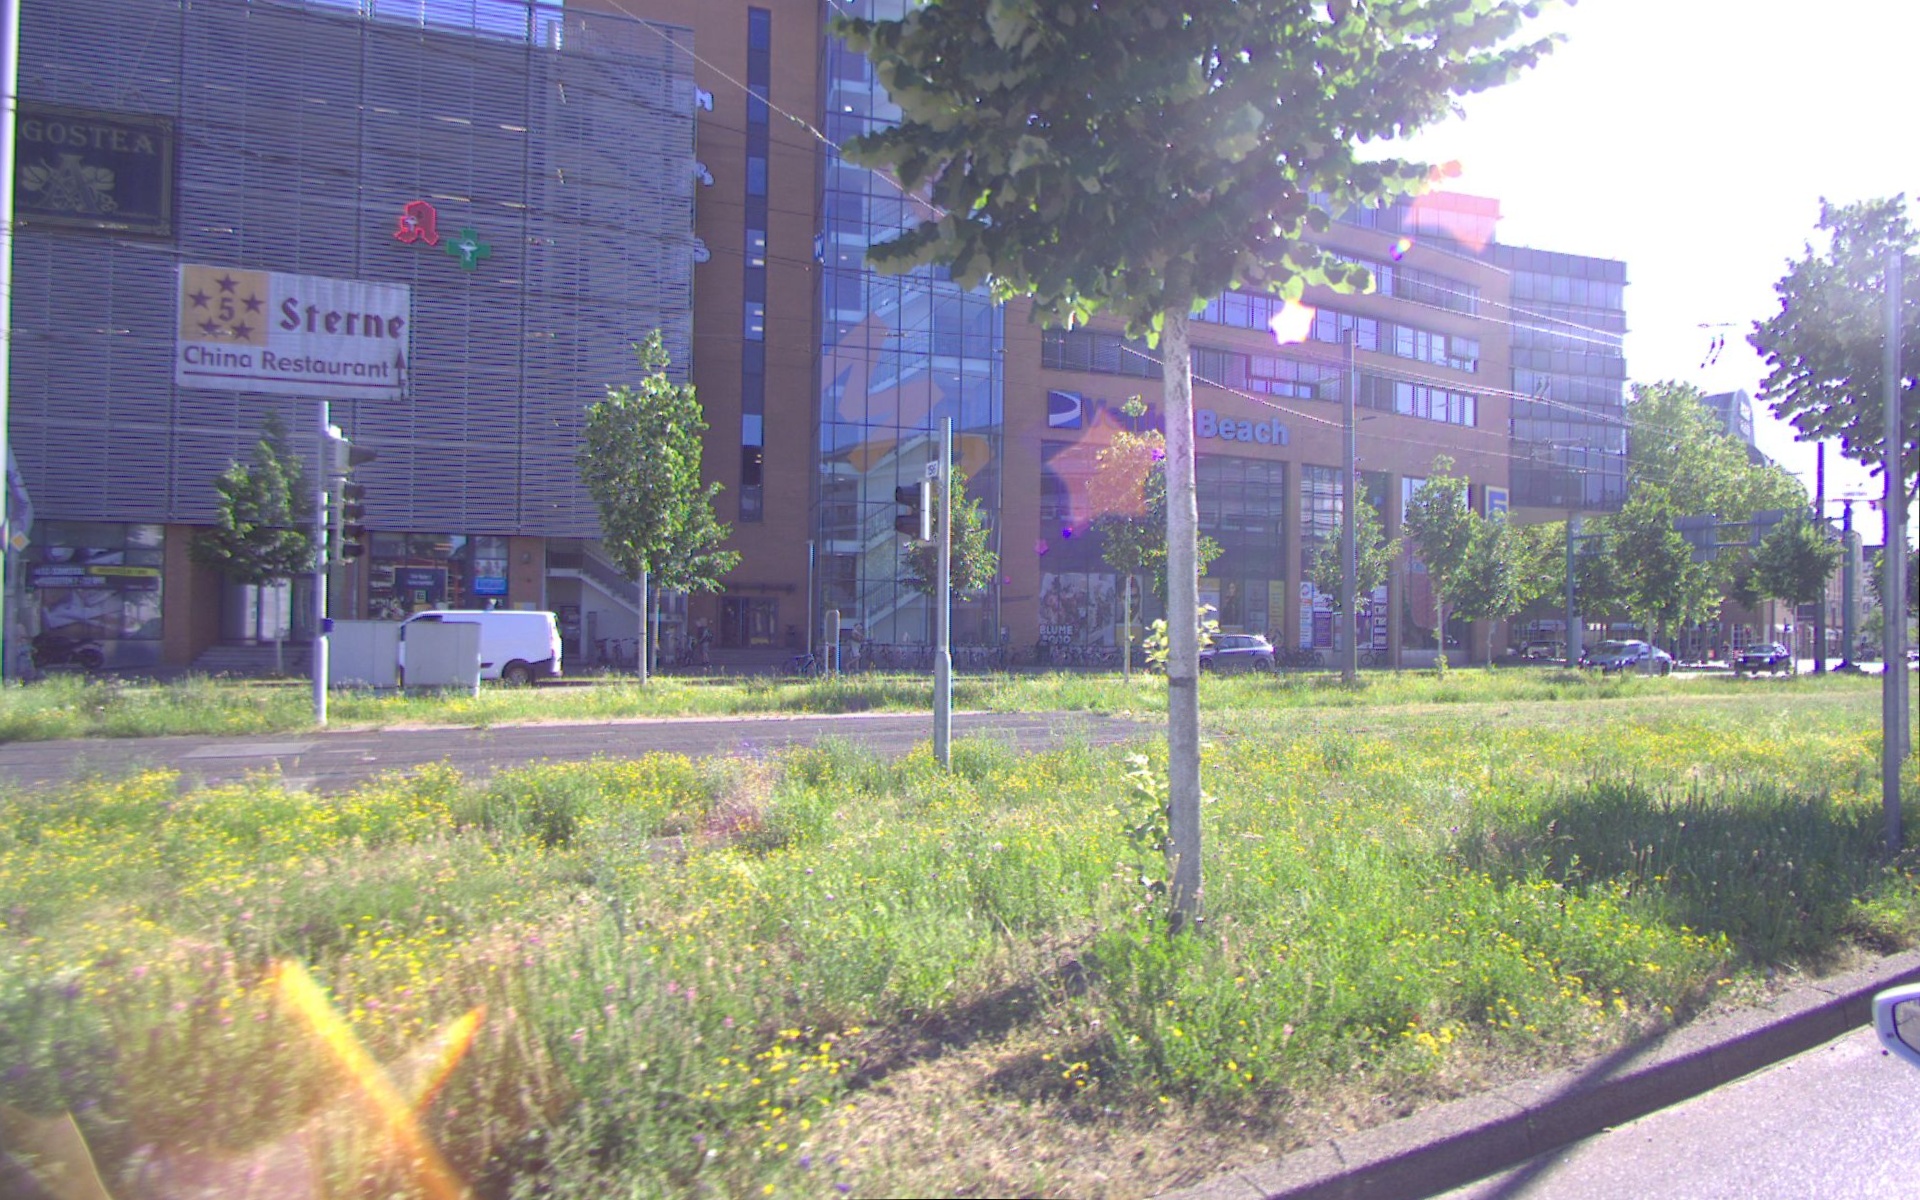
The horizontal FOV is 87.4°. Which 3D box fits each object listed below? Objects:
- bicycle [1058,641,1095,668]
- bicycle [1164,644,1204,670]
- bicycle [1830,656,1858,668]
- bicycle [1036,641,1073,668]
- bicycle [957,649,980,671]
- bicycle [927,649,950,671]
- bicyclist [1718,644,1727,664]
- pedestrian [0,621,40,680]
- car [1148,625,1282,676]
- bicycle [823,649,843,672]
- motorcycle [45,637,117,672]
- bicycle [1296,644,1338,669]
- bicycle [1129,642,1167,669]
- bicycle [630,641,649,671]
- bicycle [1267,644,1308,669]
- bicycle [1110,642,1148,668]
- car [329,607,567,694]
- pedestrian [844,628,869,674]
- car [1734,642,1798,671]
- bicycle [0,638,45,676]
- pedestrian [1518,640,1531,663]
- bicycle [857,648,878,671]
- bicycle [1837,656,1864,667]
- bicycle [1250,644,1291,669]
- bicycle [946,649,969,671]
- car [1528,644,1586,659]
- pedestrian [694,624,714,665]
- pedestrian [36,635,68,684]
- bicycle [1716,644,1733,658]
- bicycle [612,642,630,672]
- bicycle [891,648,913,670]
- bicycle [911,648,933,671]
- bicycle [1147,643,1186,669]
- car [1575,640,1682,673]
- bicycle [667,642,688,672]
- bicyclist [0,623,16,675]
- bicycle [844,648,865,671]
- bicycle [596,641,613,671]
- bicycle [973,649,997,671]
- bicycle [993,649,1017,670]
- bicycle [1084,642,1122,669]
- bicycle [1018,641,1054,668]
[{"bbox_3d":[5.389,2.522,46.410,0.742,1.138,2.169,1,-1,-22],"label":"bicycle"},{"bbox_3d":[10.687,2.704,48.031,0.742,1.138,2.169,1,-1,-22],"label":"bicycle"},{"bbox_3d":[110.473,7.738,125.521,0.726,1.327,2.470,2,-2,-33],"label":"bicycle"},{"bbox_3d":[4.313,2.495,46.012,0.742,1.138,2.169,1,-1,-22],"label":"bicycle"},{"bbox_3d":[0.354,2.462,41.388,0.439,0.830,1.443,1,-1,-22],"label":"bicycle"},{"bbox_3d":[-0.886,2.444,40.968,0.439,0.830,1.443,1,-1,-22],"label":"bicycle"},{"bbox_3d":[53.218,3.779,70.080,0.476,1.395,0.338,3,-3,-33],"label":"bicyclist"},{"bbox_3d":[-24.496,1.301,26.053,0.727,1.506,0.489,1,-1,-7],"label":"pedestrian"},{"bbox_3d":[9.142,1.800,35.951,4.479,1.703,1.987,2,-2,-27],"label":"car"},{"bbox_3d":[-4.973,2.374,39.295,0.439,0.830,1.443,1,-1,-22],"label":"bicycle"},{"bbox_3d":[-26.975,1.666,30.841,1.593,1.052,0.400,1,-2,-16],"label":"motorcycle"},{"bbox_3d":[17.956,2.849,50.567,0.742,1.138,2.169,1,-1,-22],"label":"bicycle"},{"bbox_3d":[8.855,2.608,47.419,0.742,1.138,2.169,1,-1,-22],"label":"bicycle"},{"bbox_3d":[-11.603,2.019,36.342,0.486,0.967,2.169,1,-1,-22],"label":"bicycle"},{"bbox_3d":[16.267,2.814,49.962,0.742,1.138,2.169,1,-1,-22],"label":"bicycle"},{"bbox_3d":[7.899,2.575,47.140,0.742,1.138,2.169,1,-1,-22],"label":"bicycle"},{"bbox_3d":[-12.950,1.274,25.754,5.187,2.040,2.214,2,-2,-26],"label":"car"},{"bbox_3d":[-3.906,1.907,37.851,0.769,1.707,0.592,2,-2,-30],"label":"pedestrian"},{"bbox_3d":[40.829,2.857,50.852,3.256,1.377,1.422,2,-2,-29],"label":"car"},{"bbox_3d":[-27.029,1.567,27.770,2.526,1.024,0.596,1,-2,-16],"label":"bicycle"},{"bbox_3d":[40.363,3.675,71.858,0.779,1.645,0.503,3,-2,-32],"label":"pedestrian"},{"bbox_3d":[-3.676,2.343,39.903,0.439,0.830,1.443,1,-1,-22],"label":"bicycle"},{"bbox_3d":[112.682,7.826,127.084,0.726,1.327,2.470,2,-2,-33],"label":"bicycle"},{"bbox_3d":[15.363,2.780,49.725,0.742,1.138,2.169,1,-1,-22],"label":"bicycle"},{"bbox_3d":[-0.126,2.449,41.204,0.439,0.830,1.443,1,-1,-22],"label":"bicycle"},{"bbox_3d":[52.758,4.561,88.773,1.978,1.247,3.965,2,-2,-32],"label":"car"},{"bbox_3d":[-9.957,1.731,39.065,0.650,1.574,0.636,1,-1,-10],"label":"pedestrian"},{"bbox_3d":[-23.357,1.529,25.837,0.439,1.245,0.398,1,-1,9],"label":"pedestrian"},{"bbox_3d":[53.425,3.580,70.216,1.875,0.938,0.351,4,-3,-33],"label":"bicycle"},{"bbox_3d":[-12.139,2.011,35.948,0.486,0.967,2.169,1,-1,-22],"label":"bicycle"},{"bbox_3d":[-2.332,2.355,40.176,0.439,0.830,1.443,1,-1,-22],"label":"bicycle"},{"bbox_3d":[-1.550,2.401,40.560,0.439,0.830,1.443,1,-1,-22],"label":"bicycle"},{"bbox_3d":[9.821,2.660,47.757,0.742,1.138,2.169,1,-1,-22],"label":"bicycle"},{"bbox_3d":[29.112,2.432,43.699,4.732,1.351,1.985,2,-2,-29],"label":"car"},{"bbox_3d":[-10.317,2.070,36.635,0.486,0.967,2.169,1,-1,-22],"label":"bicycle"},{"bbox_3d":[-27.097,1.335,27.751,1.291,1.426,0.592,1,-2,-16],"label":"bicyclist"},{"bbox_3d":[-4.183,2.344,39.732,0.439,0.830,1.443,1,-1,-22],"label":"bicycle"},{"bbox_3d":[-12.649,1.985,35.729,0.486,0.967,2.169,1,-1,-22],"label":"bicycle"},{"bbox_3d":[1.036,2.482,41.599,0.439,0.830,1.443,1,-1,-22],"label":"bicycle"},{"bbox_3d":[1.897,2.491,42.108,0.439,0.830,1.443,1,-1,-22],"label":"bicycle"},{"bbox_3d":[6.542,2.533,46.176,0.742,1.138,2.169,1,-1,-22],"label":"bicycle"},{"bbox_3d":[3.412,2.441,45.424,0.742,1.138,2.169,1,-1,-22],"label":"bicycle"}]
